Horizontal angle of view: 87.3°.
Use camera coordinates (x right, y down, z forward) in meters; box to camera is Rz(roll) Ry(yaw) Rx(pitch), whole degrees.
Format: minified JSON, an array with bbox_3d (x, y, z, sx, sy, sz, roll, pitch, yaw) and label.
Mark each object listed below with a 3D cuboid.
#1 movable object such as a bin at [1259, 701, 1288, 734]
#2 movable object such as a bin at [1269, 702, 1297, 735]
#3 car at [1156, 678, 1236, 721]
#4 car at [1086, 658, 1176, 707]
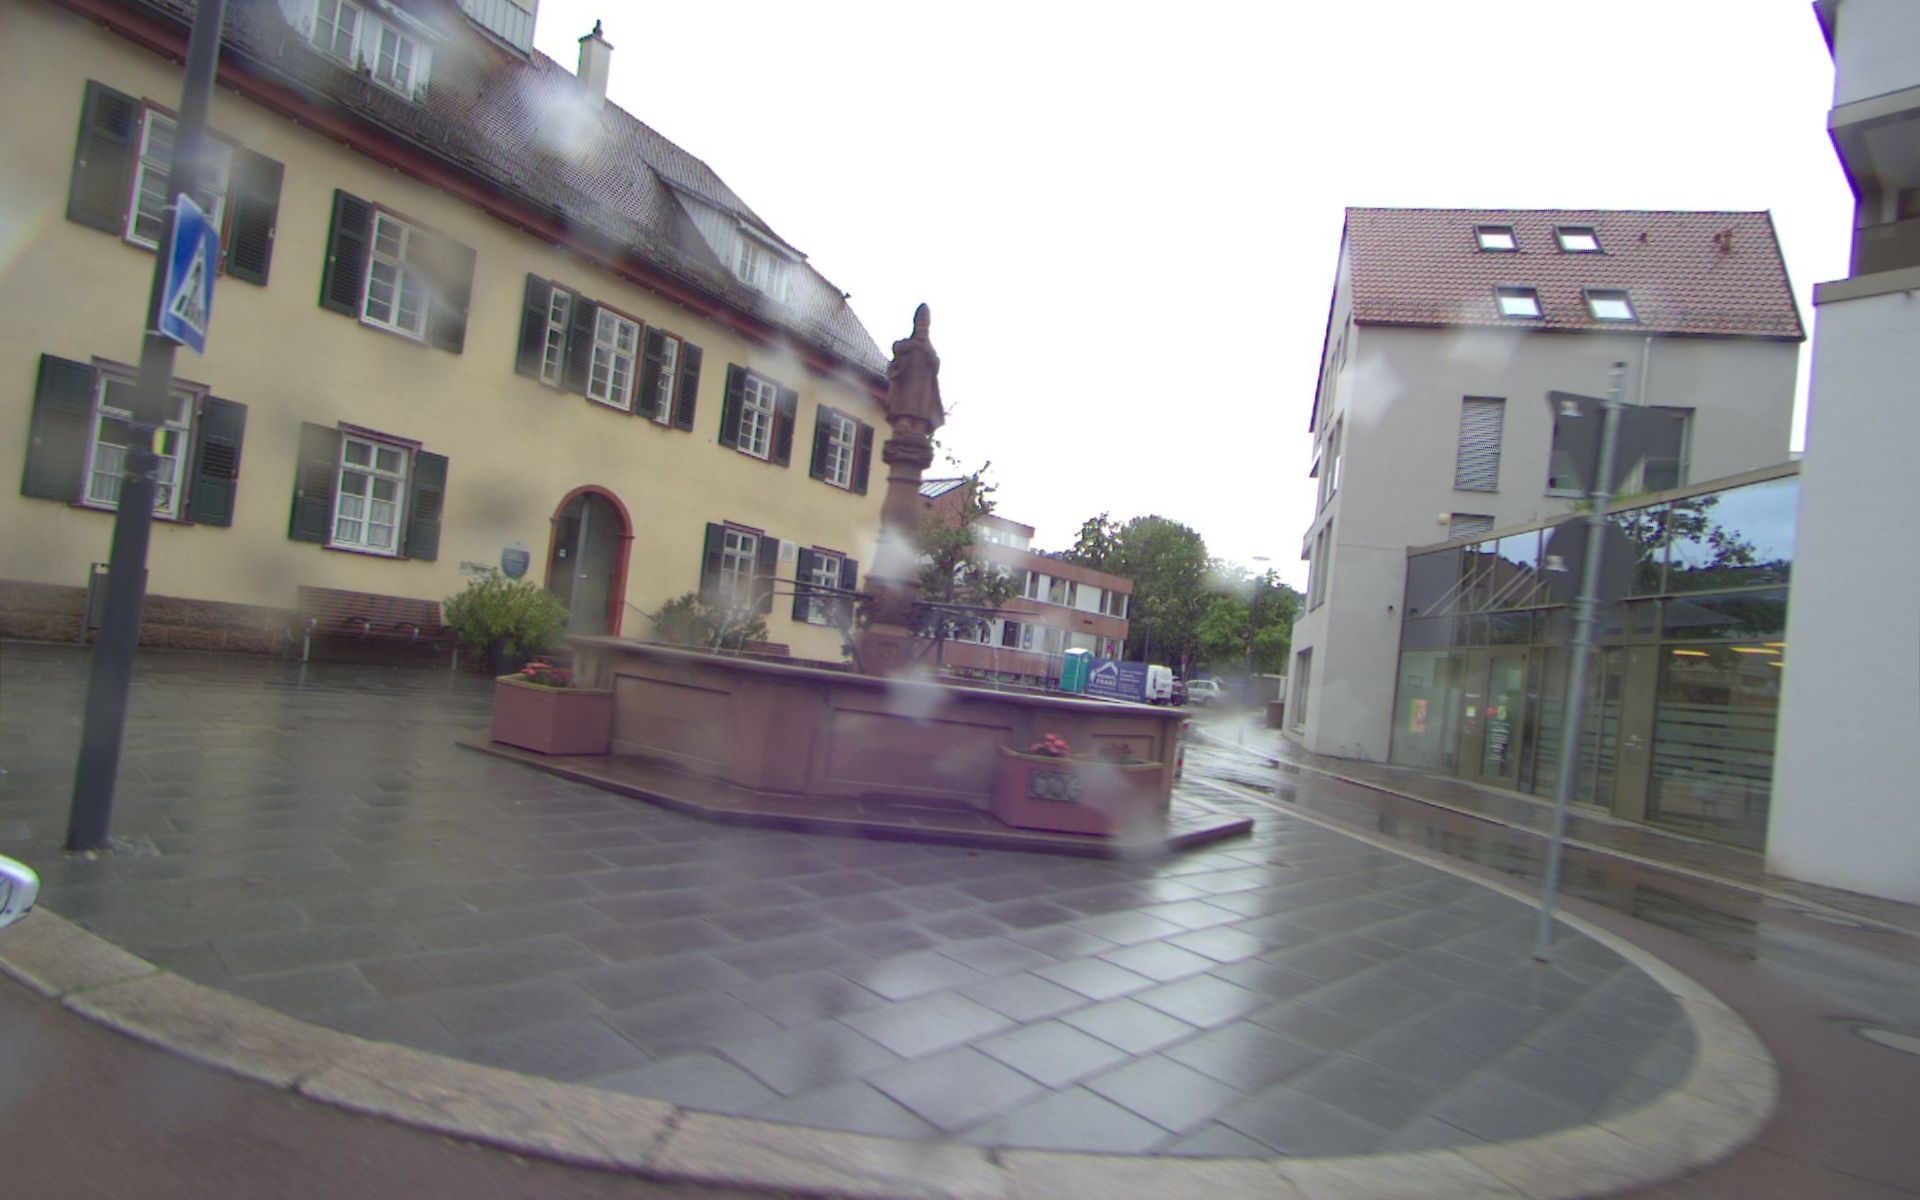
[{"bbox_3d":[13.026,4.873,41.775,0.767,1.273,1.016,6,-2,33],"label":"movable object such as a bin"},{"bbox_3d":[13.728,5.030,42.762,0.767,1.273,1.016,6,-2,33],"label":"movable object such as a bin"},{"bbox_3d":[13.938,5.857,59.432,4.080,1.947,1.723,6,-2,36],"label":"car"},{"bbox_3d":[8.888,4.286,52.419,4.081,1.947,1.902,6,-2,37],"label":"car"}]
